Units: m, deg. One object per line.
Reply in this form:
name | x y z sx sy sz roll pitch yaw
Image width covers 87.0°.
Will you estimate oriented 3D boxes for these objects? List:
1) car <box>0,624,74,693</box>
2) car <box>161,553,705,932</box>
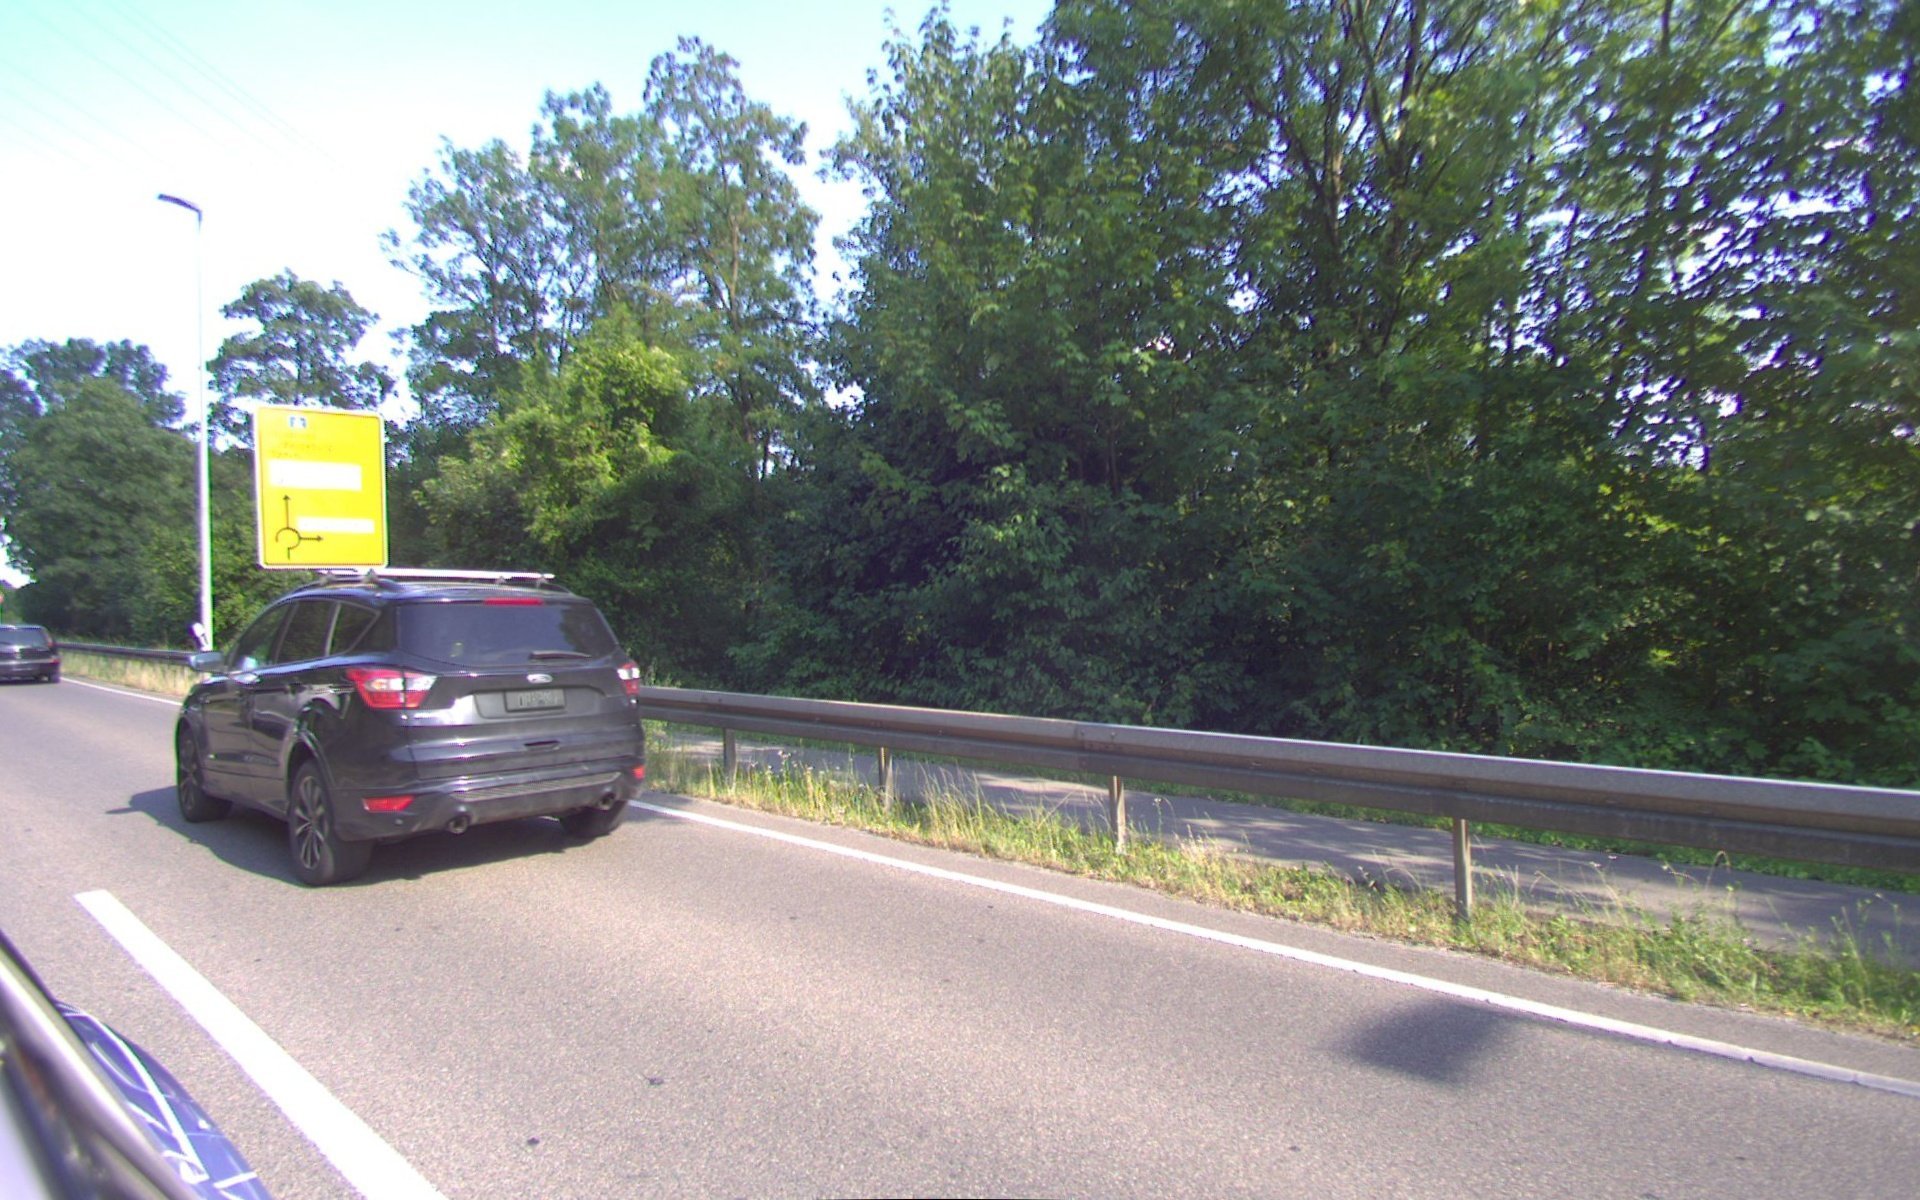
car | -21.818 1.293 23.235 3.997 1.453 1.664 -1 -1 41
car | -3.657 0.697 6.665 4.218 1.730 1.730 -1 -2 40
